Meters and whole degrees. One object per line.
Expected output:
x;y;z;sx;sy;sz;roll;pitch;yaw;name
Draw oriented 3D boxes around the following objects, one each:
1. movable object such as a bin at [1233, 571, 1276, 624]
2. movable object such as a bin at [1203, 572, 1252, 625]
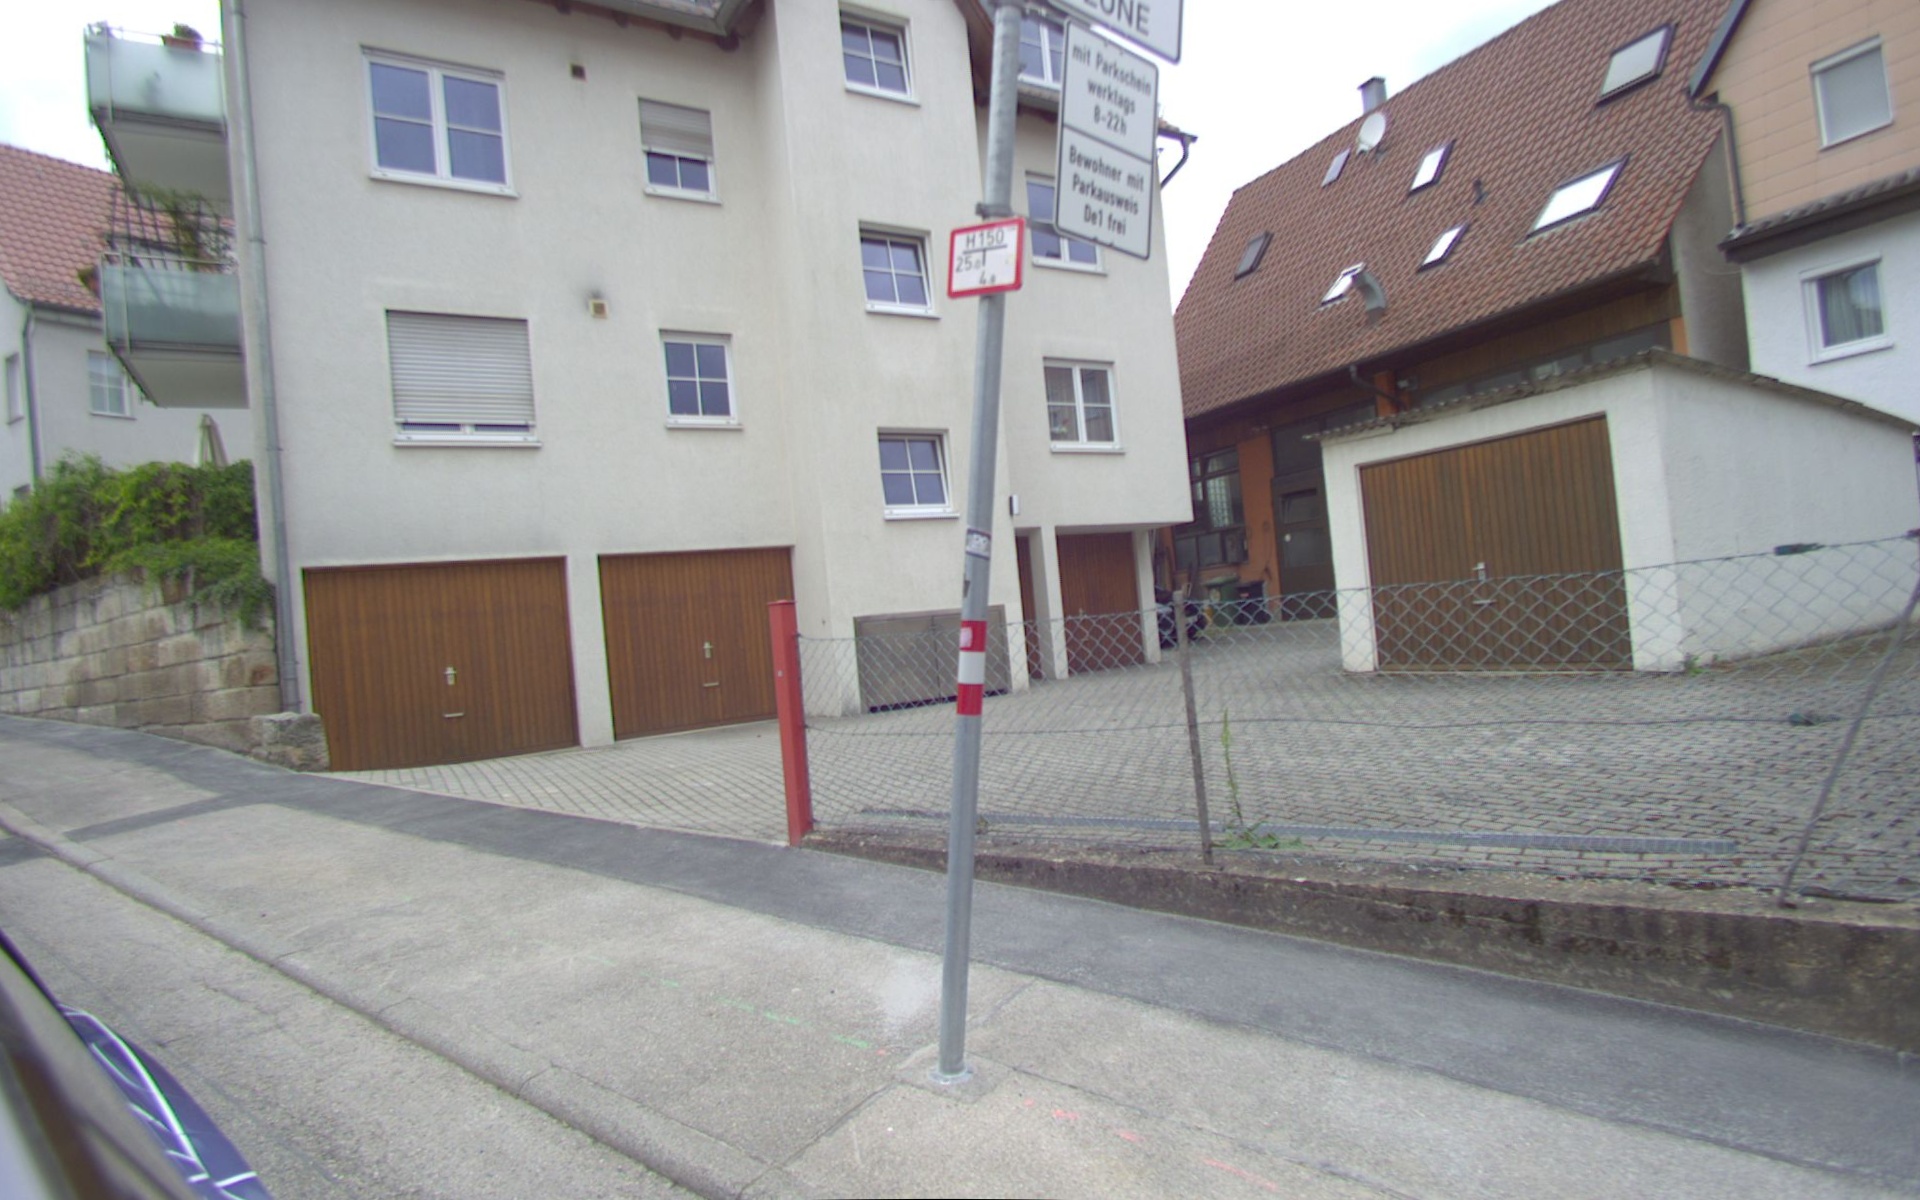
6.179;-0.048;21.229;0.651;1.070;0.516;-4;0;-33;movable object such as a bin
5.745;-0.031;21.749;0.761;1.070;0.590;-4;0;-33;movable object such as a bin
